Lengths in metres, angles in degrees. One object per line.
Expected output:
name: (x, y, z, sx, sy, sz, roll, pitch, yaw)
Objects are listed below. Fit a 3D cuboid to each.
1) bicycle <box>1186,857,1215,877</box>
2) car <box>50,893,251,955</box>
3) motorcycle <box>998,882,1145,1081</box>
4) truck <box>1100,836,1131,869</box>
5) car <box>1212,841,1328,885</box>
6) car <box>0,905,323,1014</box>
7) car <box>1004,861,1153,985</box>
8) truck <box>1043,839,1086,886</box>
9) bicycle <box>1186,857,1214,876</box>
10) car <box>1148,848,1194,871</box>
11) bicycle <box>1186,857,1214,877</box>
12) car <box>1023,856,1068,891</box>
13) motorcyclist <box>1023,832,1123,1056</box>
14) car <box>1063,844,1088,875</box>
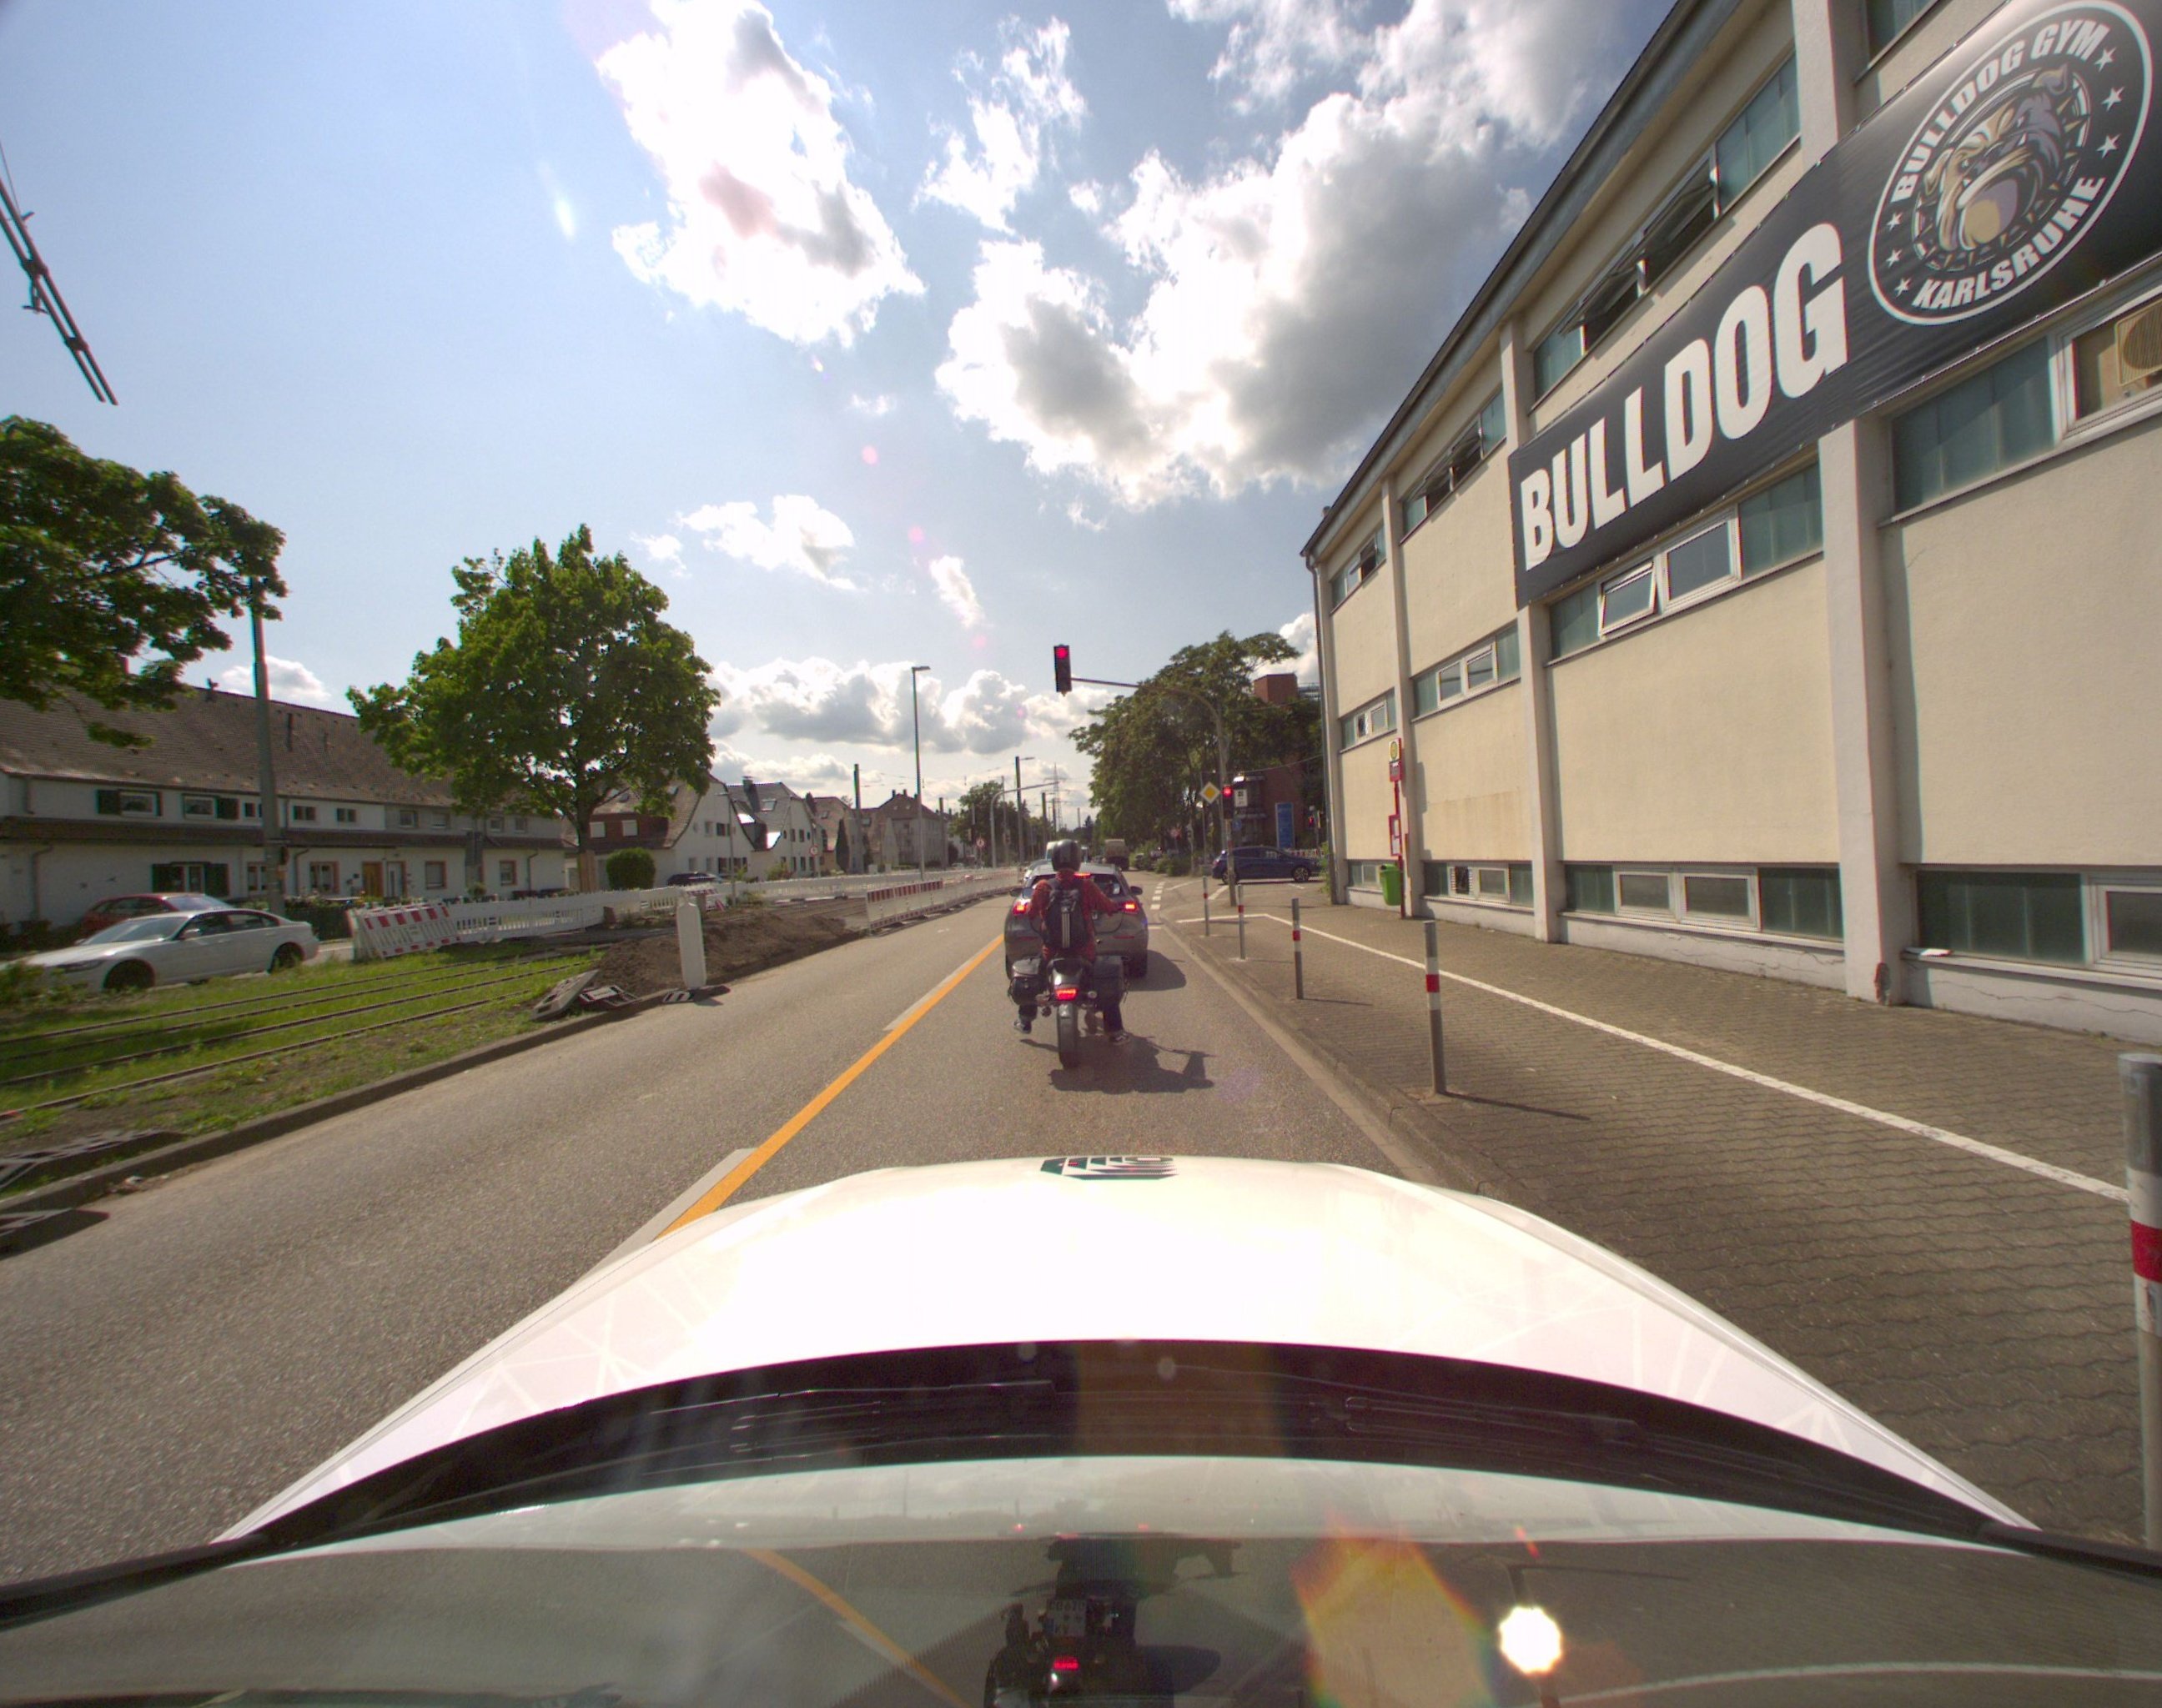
bicycle: (7.320, 0.781, 49.781, 1.699, 1.172, 0.438, -1, -1, 6)
car: (-28.132, 2.083, 24.718, 3.974, 1.509, 1.725, -3, 0, -1)
motorcycle: (-0.037, 0.872, 6.548, 0.939, 1.200, 2.473, -1, 0, 1)
truck: (3.562, -0.065, 82.992, 2.954, 3.173, 7.771, -1, -1, 4)
car: (7.349, 0.339, 31.556, 4.222, 1.498, 1.657, -2, 0, 16)
car: (-16.396, 1.772, 14.738, 1.538, 1.376, 4.245, -3, 0, -5)
car: (-0.137, 0.820, 11.555, 1.728, 1.403, 4.081, -1, 0, -3)
truck: (-0.922, 0.409, 48.021, 2.085, 2.476, 5.198, -4, 1, 2)
bicycle: (7.463, 0.798, 51.180, 1.699, 1.172, 0.438, -1, -1, 6)
car: (7.752, 0.480, 70.025, 4.023, 1.926, 1.781, 0, -1, -44)
bicycle: (7.357, 0.789, 50.365, 1.699, 1.172, 0.438, -1, -1, 6)
car: (-1.600, 0.896, 37.834, 1.738, 1.437, 4.084, -4, -1, 1)
motorcyclist: (-0.055, 0.654, 6.248, 0.696, 1.604, 0.692, -1, -1, 1)
car: (-0.375, 0.429, 58.661, 1.583, 2.143, 3.628, -1, -1, 2)
